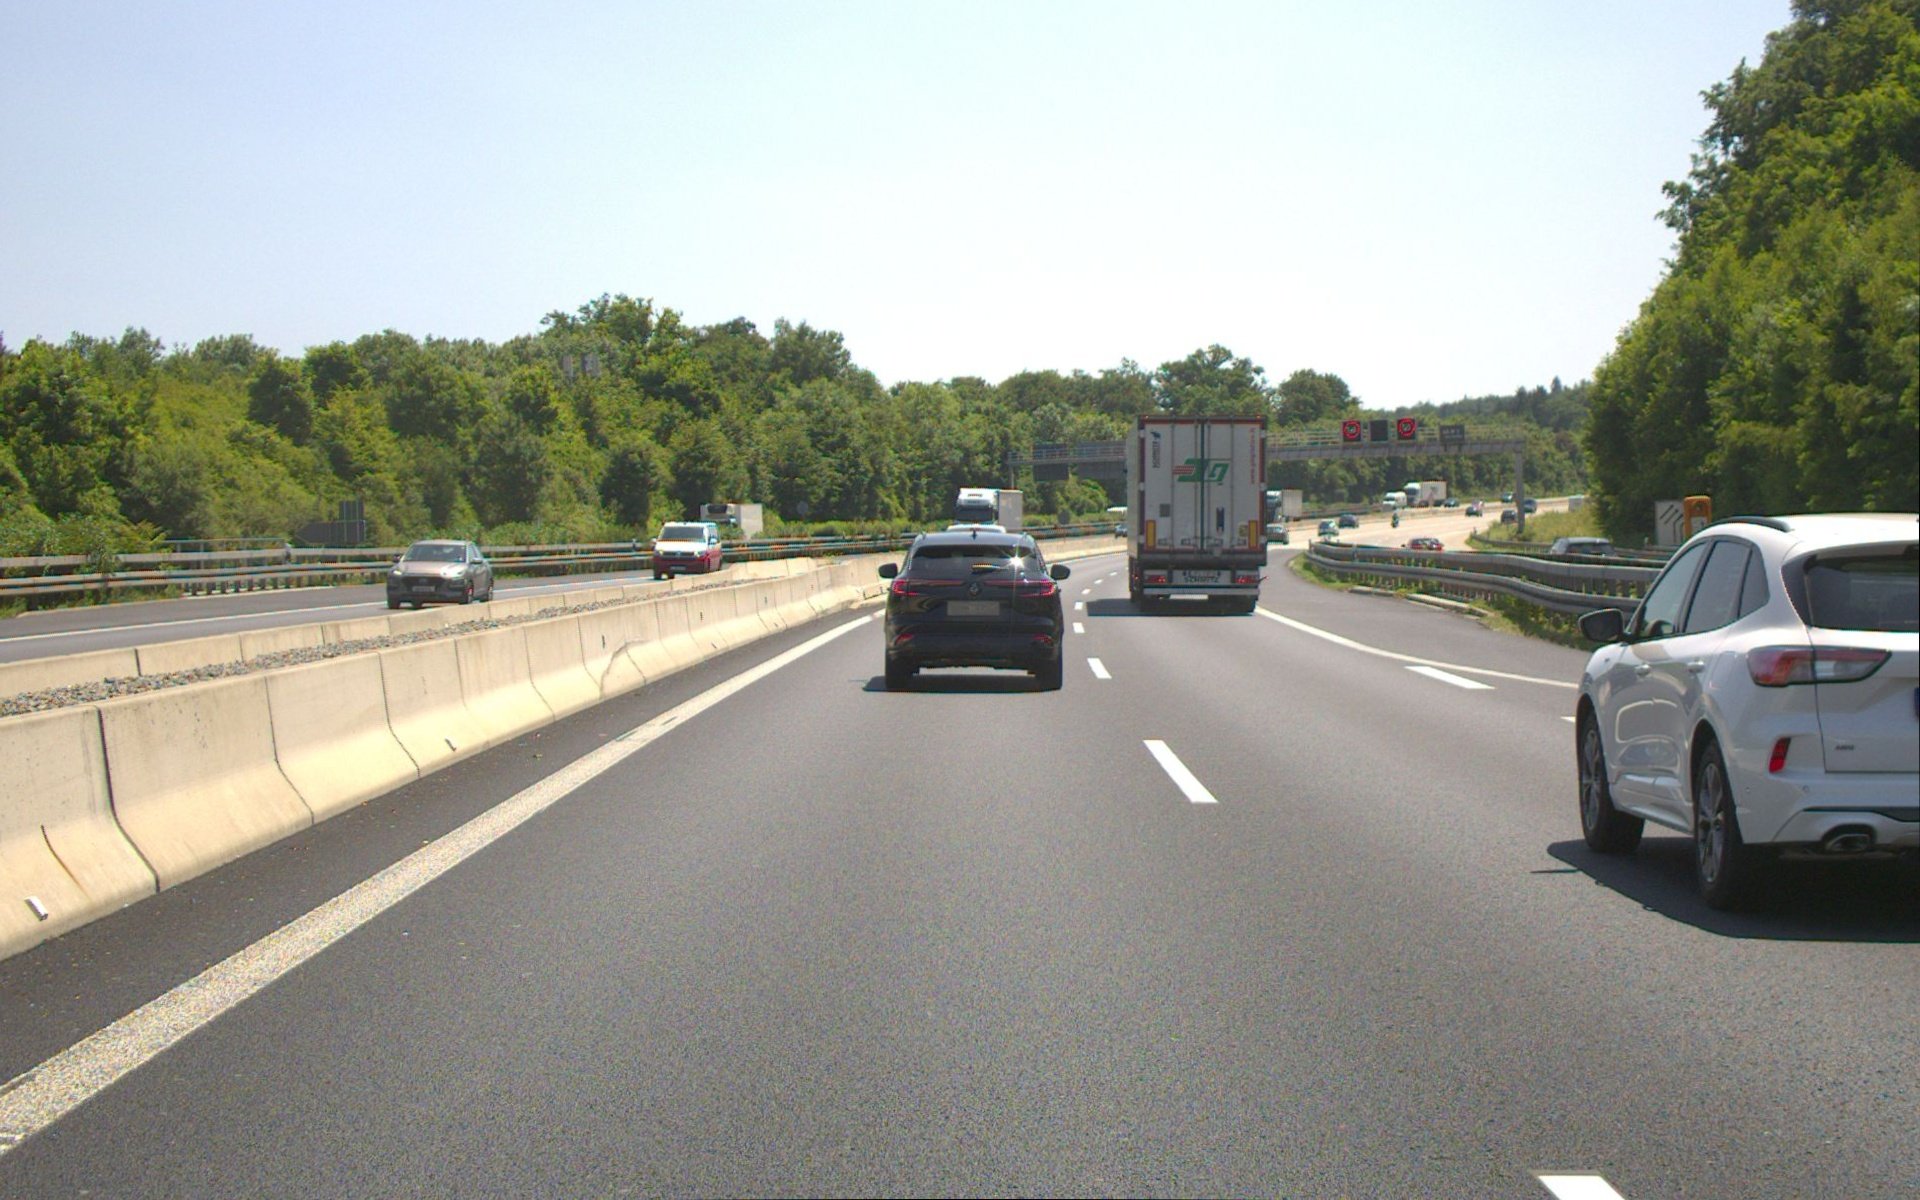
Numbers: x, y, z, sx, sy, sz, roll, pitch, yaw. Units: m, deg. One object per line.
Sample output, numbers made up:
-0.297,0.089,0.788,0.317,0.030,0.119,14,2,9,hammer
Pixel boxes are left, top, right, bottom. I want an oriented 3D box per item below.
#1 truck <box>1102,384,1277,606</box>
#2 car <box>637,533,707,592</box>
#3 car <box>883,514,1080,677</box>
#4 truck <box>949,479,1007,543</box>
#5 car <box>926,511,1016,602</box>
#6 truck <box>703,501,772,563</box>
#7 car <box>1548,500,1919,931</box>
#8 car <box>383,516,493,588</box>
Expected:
4.803,-2.138,74.247,3.032,4.403,12.019,0,0,0,truck
-9.949,-1.298,118.948,1.993,2.007,5.380,0,0,0,car
0.170,-0.056,35.897,1.779,1.572,4.000,1,0,-3,car
1.215,-5.746,223.258,2.698,3.946,10.774,0,0,6,truck
0.248,-1.064,81.910,1.993,2.007,4.000,-3,1,0,car
-14.542,-4.436,225.776,2.698,3.946,10.774,0,0,6,truck
4.001,0.422,15.433,1.993,1.656,4.468,0,0,1,car
-11.593,-1.072,76.580,1.728,1.527,4.261,1,1,1,car
